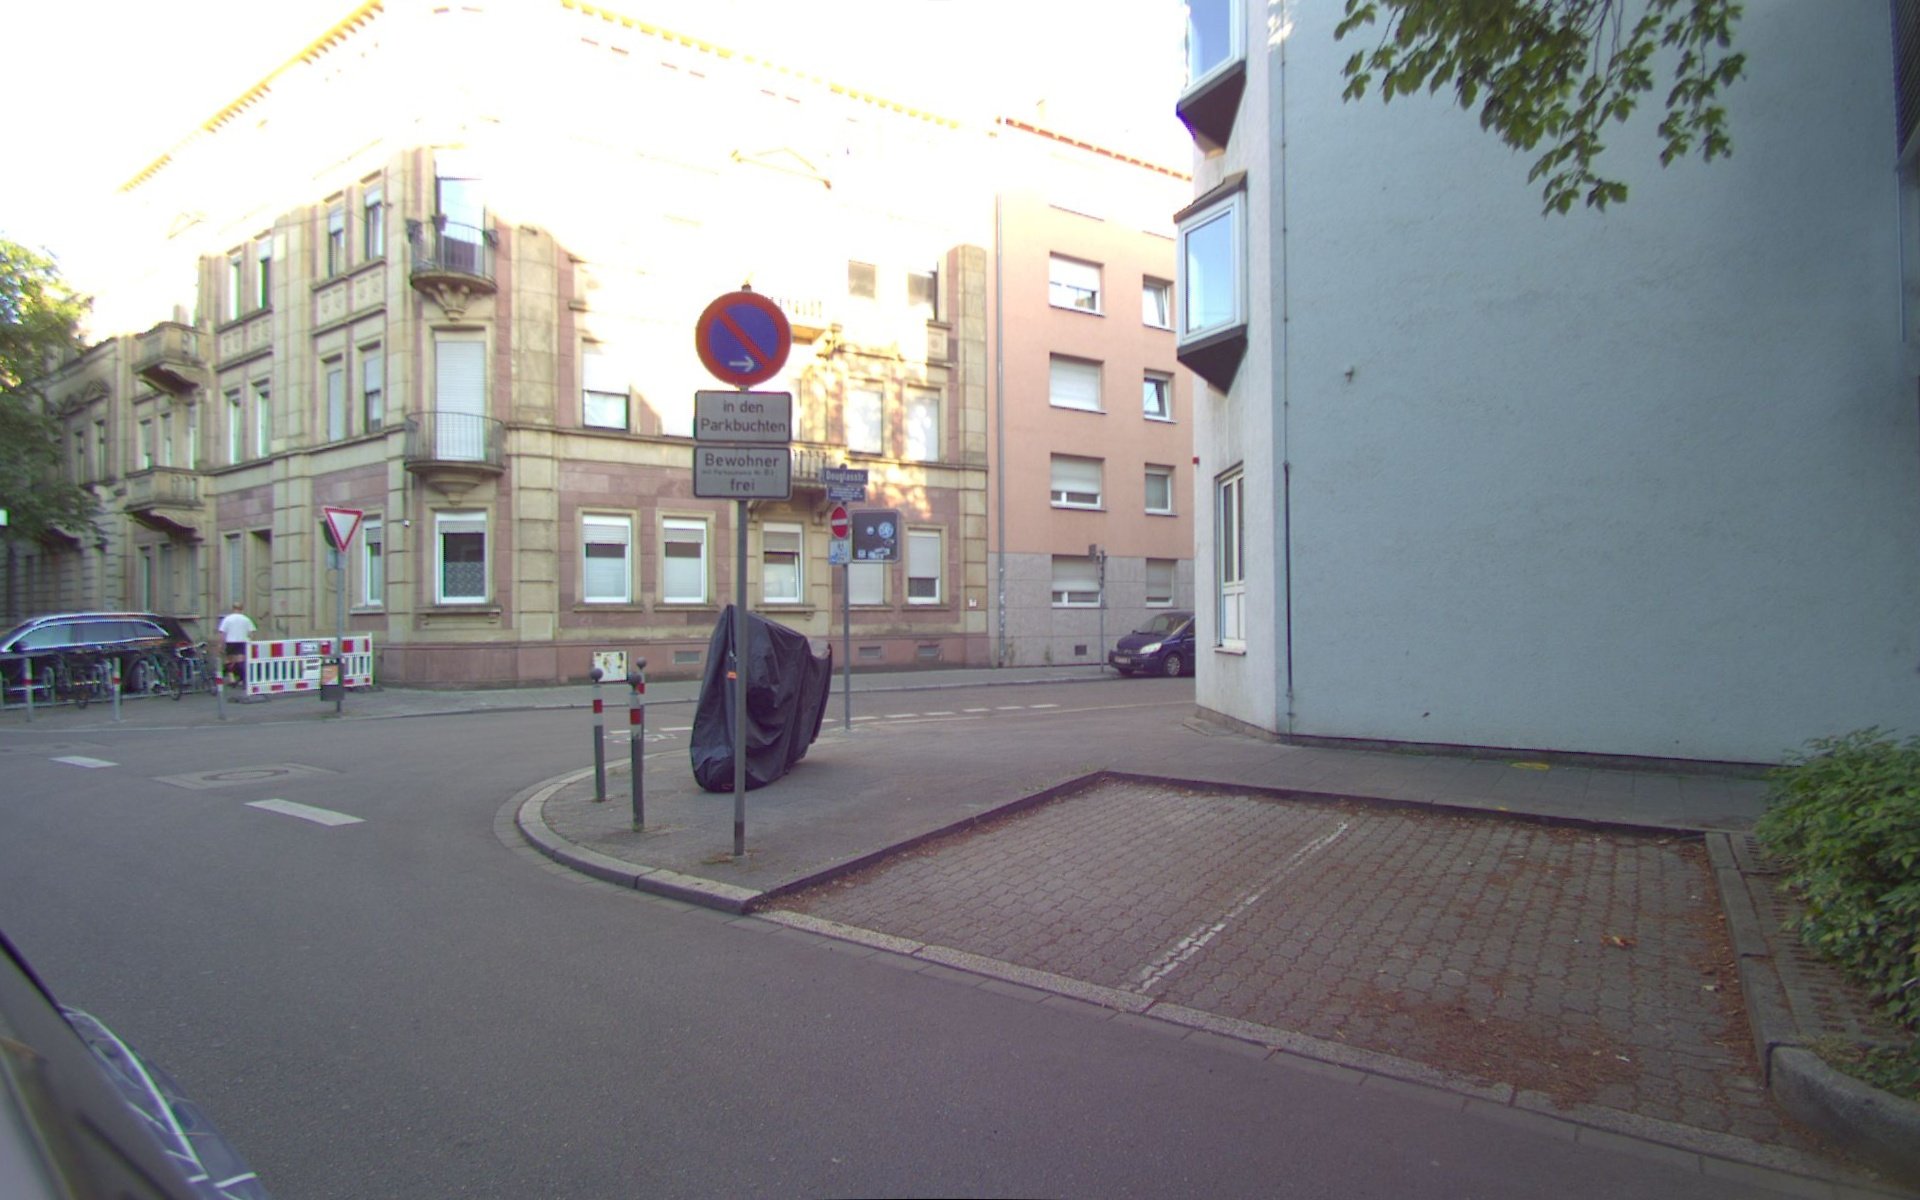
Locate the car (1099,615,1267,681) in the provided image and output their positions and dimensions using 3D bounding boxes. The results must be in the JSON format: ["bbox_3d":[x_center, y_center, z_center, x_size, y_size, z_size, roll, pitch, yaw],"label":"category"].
[{"bbox_3d":[5.739,1.169,25.849,4.297,1.529,1.789,1,-2,-36],"label":"car"}]

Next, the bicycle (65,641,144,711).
[{"bbox_3d":[-15.272,1.331,18.054,2.034,1.159,0.555,-1,-1,34],"label":"bicycle"}]

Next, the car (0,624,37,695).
[{"bbox_3d":[-24.304,1.407,23.395,1.740,1.690,4.190,-1,-2,39],"label":"car"}]

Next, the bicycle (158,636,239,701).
[{"bbox_3d":[-14.446,1.272,19.185,2.033,1.159,0.556,-1,-1,33],"label":"bicycle"}]

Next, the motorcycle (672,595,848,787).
[{"bbox_3d":[-1.728,0.744,9.201,0.809,1.516,2.276,-1,-1,10],"label":"motorcycle"}]

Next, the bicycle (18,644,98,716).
[{"bbox_3d":[-15.625,1.354,17.525,2.034,1.159,0.555,-1,-1,34],"label":"bicycle"}]

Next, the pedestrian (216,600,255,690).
[{"bbox_3d":[-14.989,0.914,20.937,0.564,1.821,0.652,0,-2,-44],"label":"pedestrian"}]

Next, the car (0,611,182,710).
[{"bbox_3d":[-17.916,1.129,19.477,1.740,1.795,4.369,-1,-2,38],"label":"car"}]

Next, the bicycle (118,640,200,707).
[{"bbox_3d":[-14.800,1.333,18.682,2.033,1.159,0.556,-1,-1,33],"label":"bicycle"}]
